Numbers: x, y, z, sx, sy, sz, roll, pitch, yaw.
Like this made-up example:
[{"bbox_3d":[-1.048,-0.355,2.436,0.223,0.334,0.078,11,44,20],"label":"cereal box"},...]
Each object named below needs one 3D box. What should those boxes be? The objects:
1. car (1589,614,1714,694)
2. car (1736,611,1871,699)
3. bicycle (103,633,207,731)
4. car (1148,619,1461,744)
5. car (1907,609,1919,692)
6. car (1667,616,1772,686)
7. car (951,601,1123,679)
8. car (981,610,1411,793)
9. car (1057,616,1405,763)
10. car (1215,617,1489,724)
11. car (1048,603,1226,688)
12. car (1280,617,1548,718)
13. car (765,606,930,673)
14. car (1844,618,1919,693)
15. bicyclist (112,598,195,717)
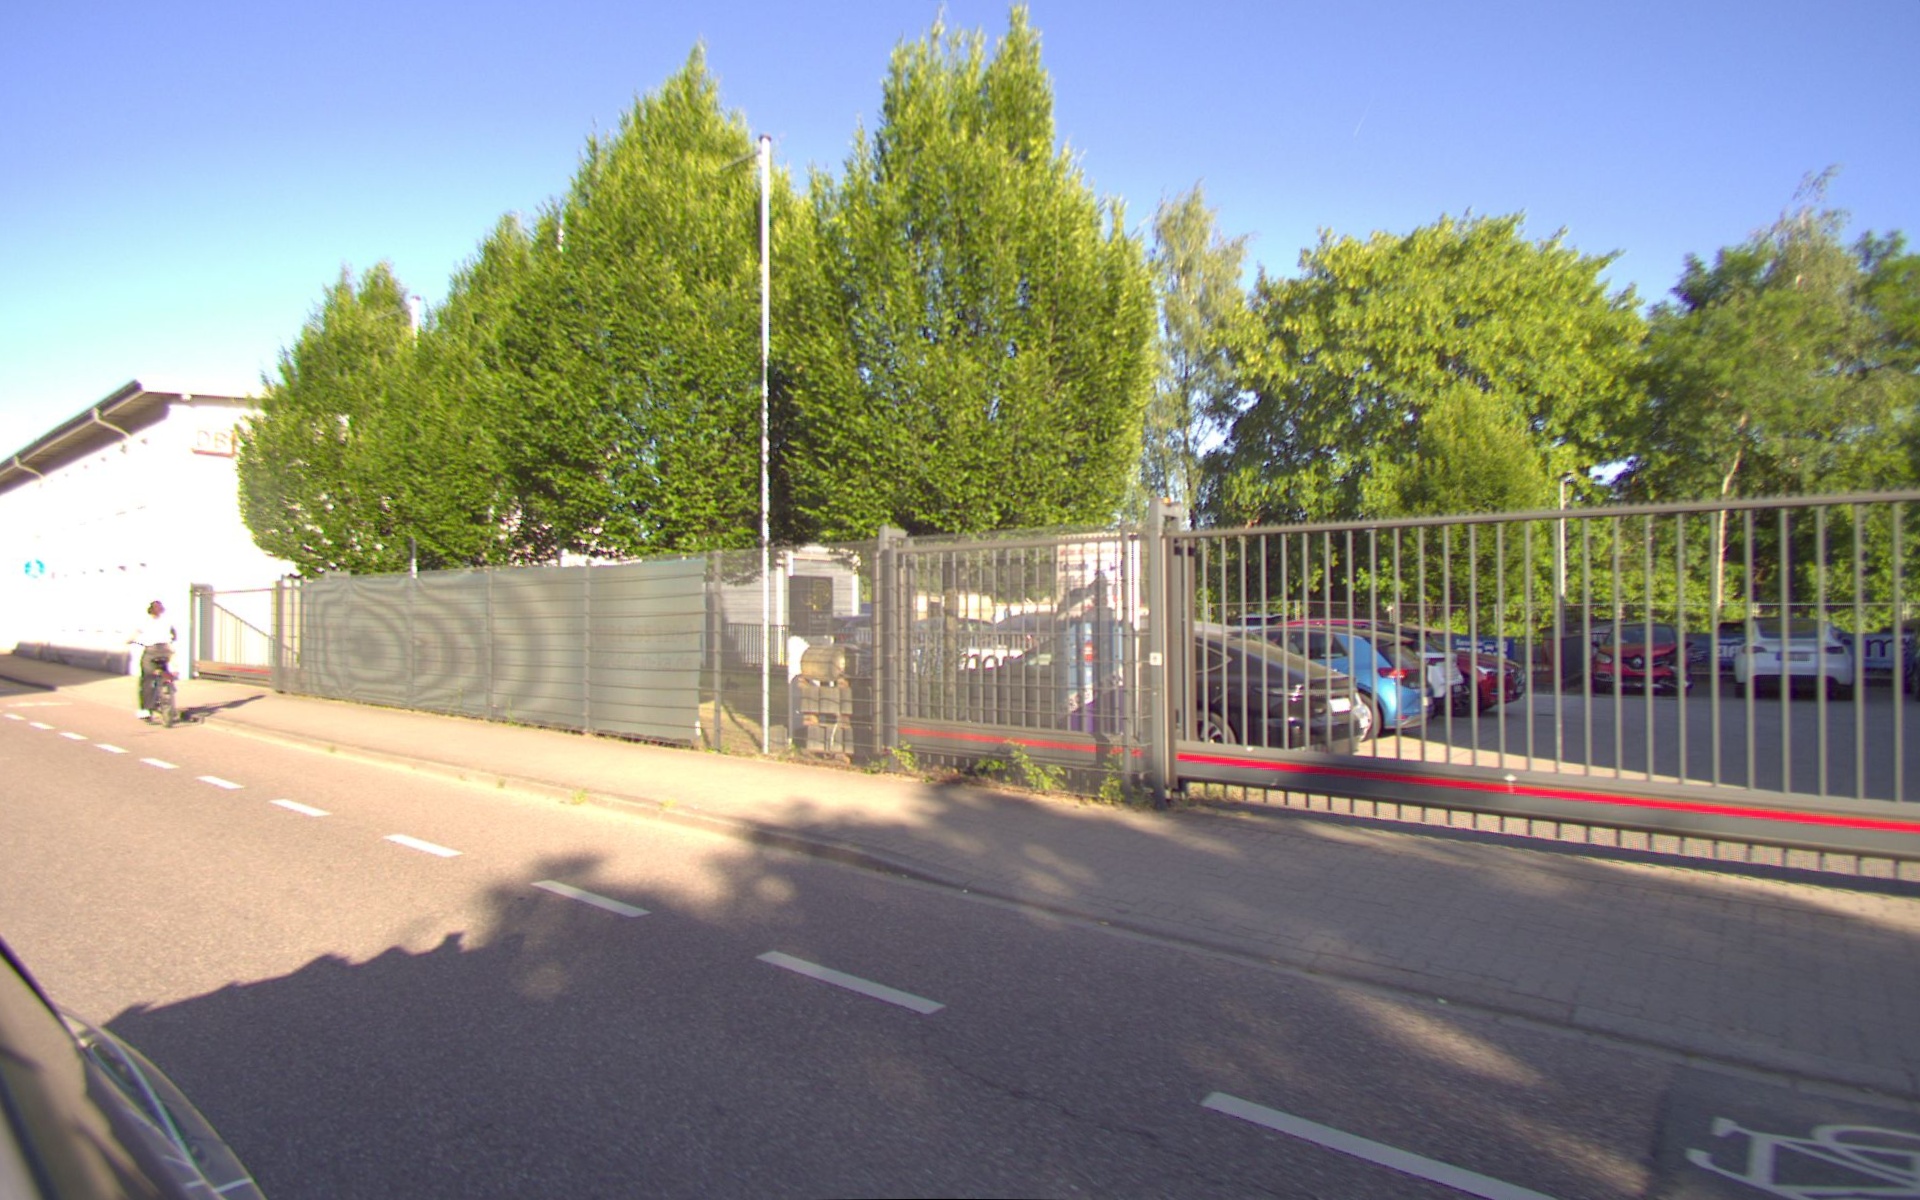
[{"bbox_3d":[15.930,1.197,23.239,1.875,1.663,4.145,-1,-3,41],"label":"car"},{"bbox_3d":[17.804,1.123,21.488,2.008,1.663,4.219,-1,-2,39],"label":"car"},{"bbox_3d":[-11.586,1.135,14.544,2.169,1.298,0.661,-1,-2,38],"label":"bicycle"},{"bbox_3d":[4.991,1.090,14.891,3.994,1.589,1.851,-1,-2,38],"label":"car"},{"bbox_3d":[20.105,1.014,19.747,2.008,1.663,4.219,-1,-2,39],"label":"car"},{"bbox_3d":[19.836,1.297,26.365,1.875,1.663,4.145,-1,-3,41],"label":"car"},{"bbox_3d":[1.787,0.880,22.412,1.874,1.552,3.947,-1,-3,39],"label":"car"},{"bbox_3d":[2.367,0.917,10.582,3.994,1.552,1.851,-1,-2,38],"label":"car"},{"bbox_3d":[3.439,1.039,13.155,3.994,1.618,1.851,-1,-2,38],"label":"car"},{"bbox_3d":[6.562,1.109,17.118,3.994,1.603,1.851,-1,-2,38],"label":"car"},{"bbox_3d":[3.675,0.903,20.518,1.874,1.552,3.947,-1,-3,39],"label":"car"},{"bbox_3d":[8.300,1.159,18.664,4.196,1.663,1.943,-1,-2,38],"label":"car"},{"bbox_3d":[-2.742,0.984,25.359,1.874,1.552,3.947,-1,-3,39],"label":"car"},{"bbox_3d":[22.315,1.296,24.100,1.875,1.663,4.145,-1,-3,41],"label":"car"},{"bbox_3d":[-11.574,0.800,14.524,0.832,1.640,0.739,-1,-2,37],"label":"bicyclist"}]
